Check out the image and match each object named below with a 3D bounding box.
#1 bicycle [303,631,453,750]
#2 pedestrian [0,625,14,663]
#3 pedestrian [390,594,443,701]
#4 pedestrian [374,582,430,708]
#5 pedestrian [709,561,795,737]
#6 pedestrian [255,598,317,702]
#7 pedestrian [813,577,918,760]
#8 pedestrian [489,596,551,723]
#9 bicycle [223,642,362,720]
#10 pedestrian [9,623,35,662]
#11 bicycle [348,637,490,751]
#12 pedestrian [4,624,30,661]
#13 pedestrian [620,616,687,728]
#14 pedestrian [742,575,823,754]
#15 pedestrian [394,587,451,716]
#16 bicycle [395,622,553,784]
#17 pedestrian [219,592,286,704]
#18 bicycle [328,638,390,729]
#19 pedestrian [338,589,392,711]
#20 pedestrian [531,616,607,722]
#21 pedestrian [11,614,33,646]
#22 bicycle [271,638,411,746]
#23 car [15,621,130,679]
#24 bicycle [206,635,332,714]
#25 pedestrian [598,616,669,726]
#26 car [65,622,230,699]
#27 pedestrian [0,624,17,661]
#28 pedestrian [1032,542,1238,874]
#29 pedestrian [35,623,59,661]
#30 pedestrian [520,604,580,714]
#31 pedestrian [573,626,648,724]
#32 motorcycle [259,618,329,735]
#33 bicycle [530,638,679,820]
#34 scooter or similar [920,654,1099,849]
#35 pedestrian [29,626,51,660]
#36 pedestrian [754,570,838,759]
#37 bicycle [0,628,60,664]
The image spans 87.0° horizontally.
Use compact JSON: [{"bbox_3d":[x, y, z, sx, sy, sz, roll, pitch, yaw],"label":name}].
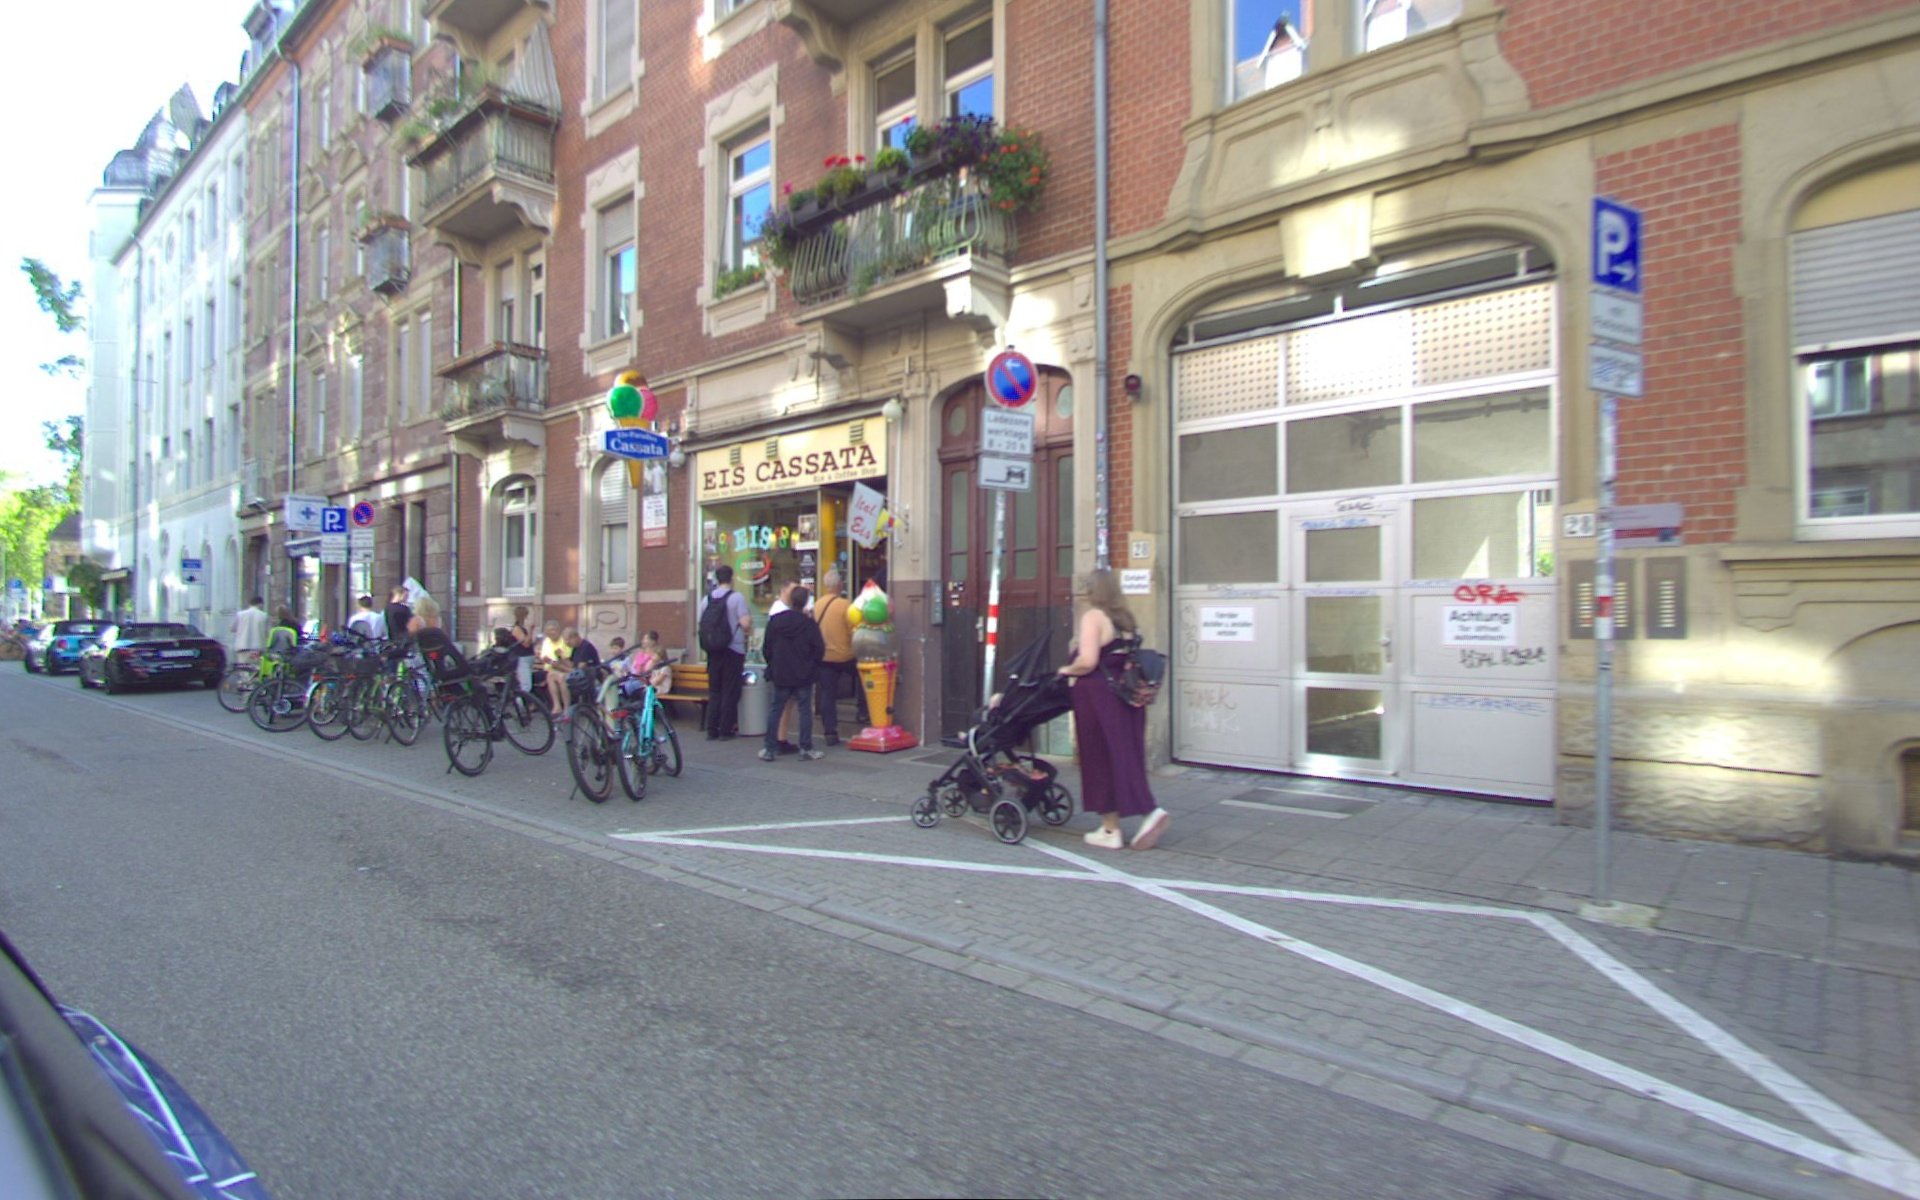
[{"bbox_3d":[-6.685,0.999,11.735,0.583,1.209,1.788,-1,0,5],"label":"bicycle"},{"bbox_3d":[-34.865,1.587,36.743,0.644,1.359,0.729,-1,-1,44],"label":"pedestrian"},{"bbox_3d":[-9.261,0.790,17.268,0.678,1.773,0.668,-1,0,-18],"label":"pedestrian"},{"bbox_3d":[-8.690,0.687,15.770,0.637,1.906,0.603,-1,0,-18],"label":"pedestrian"},{"bbox_3d":[-2.280,0.524,11.144,0.659,1.868,0.761,-1,0,11],"label":"pedestrian"},{"bbox_3d":[-11.854,0.869,17.820,0.750,1.773,0.668,-1,0,-18],"label":"pedestrian"},{"bbox_3d":[-0.926,0.640,9.926,0.763,1.709,0.656,-1,-1,42],"label":"pedestrian"},{"bbox_3d":[-5.849,0.768,13.447,0.584,1.628,0.547,-1,-1,42],"label":"pedestrian"},{"bbox_3d":[-9.738,1.158,14.817,1.658,1.038,0.410,-1,-1,-28],"label":"bicycle"},{"bbox_3d":[-34.075,1.536,36.763,0.680,1.383,0.740,0,-1,-44],"label":"pedestrian"},{"bbox_3d":[-6.096,1.025,11.512,0.548,1.129,1.735,-1,0,5],"label":"bicycle"},{"bbox_3d":[-35.099,1.584,37.680,0.658,1.346,0.740,0,-1,-41],"label":"pedestrian"},{"bbox_3d":[-3.766,0.860,12.444,0.372,1.323,0.694,-1,-1,38],"label":"pedestrian"},{"bbox_3d":[-1.762,0.624,10.099,0.579,1.709,0.663,-1,0,11],"label":"pedestrian"},{"bbox_3d":[-7.630,0.712,14.362,0.596,1.765,0.727,0,-1,-38],"label":"pedestrian"},{"bbox_3d":[-4.466,0.896,9.424,0.521,1.332,1.674,-1,0,6],"label":"bicycle"},{"bbox_3d":[-11.934,0.788,17.087,0.750,1.832,0.668,-1,0,-18],"label":"pedestrian"},{"bbox_3d":[-8.096,1.079,13.603,0.570,1.098,1.742,-1,0,-35],"label":"bicycle"},{"bbox_3d":[-8.949,0.735,15.215,0.596,1.765,0.947,0,-1,-36],"label":"pedestrian"},{"bbox_3d":[-5.140,0.884,13.319,0.605,1.323,0.716,-1,-1,38],"label":"pedestrian"},{"bbox_3d":[-51.441,1.630,55.509,0.879,1.722,0.834,-1,-1,42],"label":"pedestrian"},{"bbox_3d":[-7.283,1.047,11.987,0.583,1.129,1.568,-1,0,5],"label":"bicycle"},{"bbox_3d":[-23.909,1.292,27.237,4.007,1.426,1.653,-1,0,39],"label":"car"},{"bbox_3d":[-10.426,1.118,15.301,1.556,1.125,0.375,-1,0,-9],"label":"bicycle"},{"bbox_3d":[-4.090,0.865,12.698,0.439,1.323,0.710,-1,-1,38],"label":"pedestrian"},{"bbox_3d":[-16.781,1.162,20.808,5.112,1.361,1.793,-1,-1,41],"label":"car"},{"bbox_3d":[-36.723,1.634,38.568,1.073,1.383,0.896,-1,-1,-40],"label":"pedestrian"},{"bbox_3d":[1.002,0.550,5.715,0.826,1.674,0.903,-1,0,34],"label":"pedestrian"},{"bbox_3d":[-33.549,1.541,37.200,0.628,1.383,0.684,0,-1,-44],"label":"pedestrian"},{"bbox_3d":[-5.774,0.811,14.237,0.596,1.481,0.727,0,-1,-38],"label":"pedestrian"},{"bbox_3d":[-4.497,0.941,13.023,0.585,1.205,0.701,-1,-1,38],"label":"pedestrian"},{"bbox_3d":[-8.710,0.941,13.245,0.697,1.395,2.029,-1,0,-34],"label":"motorcycle"},{"bbox_3d":[-2.790,0.937,8.188,0.795,1.167,2.275,-1,0,-11],"label":"bicycle"},{"bbox_3d":[0.305,0.893,6.291,0.920,1.063,0.600,-1,0,37],"label":"scooter or similar"},{"bbox_3d":[-34.613,1.609,38.066,0.589,1.253,0.694,0,-1,-41],"label":"pedestrian"},{"bbox_3d":[-1.524,0.593,9.485,0.639,1.709,0.564,-1,0,4],"label":"pedestrian"},{"bbox_3d":[-33.263,1.624,35.978,0.688,1.184,1.847,-1,-1,43],"label":"bicycle"}]
